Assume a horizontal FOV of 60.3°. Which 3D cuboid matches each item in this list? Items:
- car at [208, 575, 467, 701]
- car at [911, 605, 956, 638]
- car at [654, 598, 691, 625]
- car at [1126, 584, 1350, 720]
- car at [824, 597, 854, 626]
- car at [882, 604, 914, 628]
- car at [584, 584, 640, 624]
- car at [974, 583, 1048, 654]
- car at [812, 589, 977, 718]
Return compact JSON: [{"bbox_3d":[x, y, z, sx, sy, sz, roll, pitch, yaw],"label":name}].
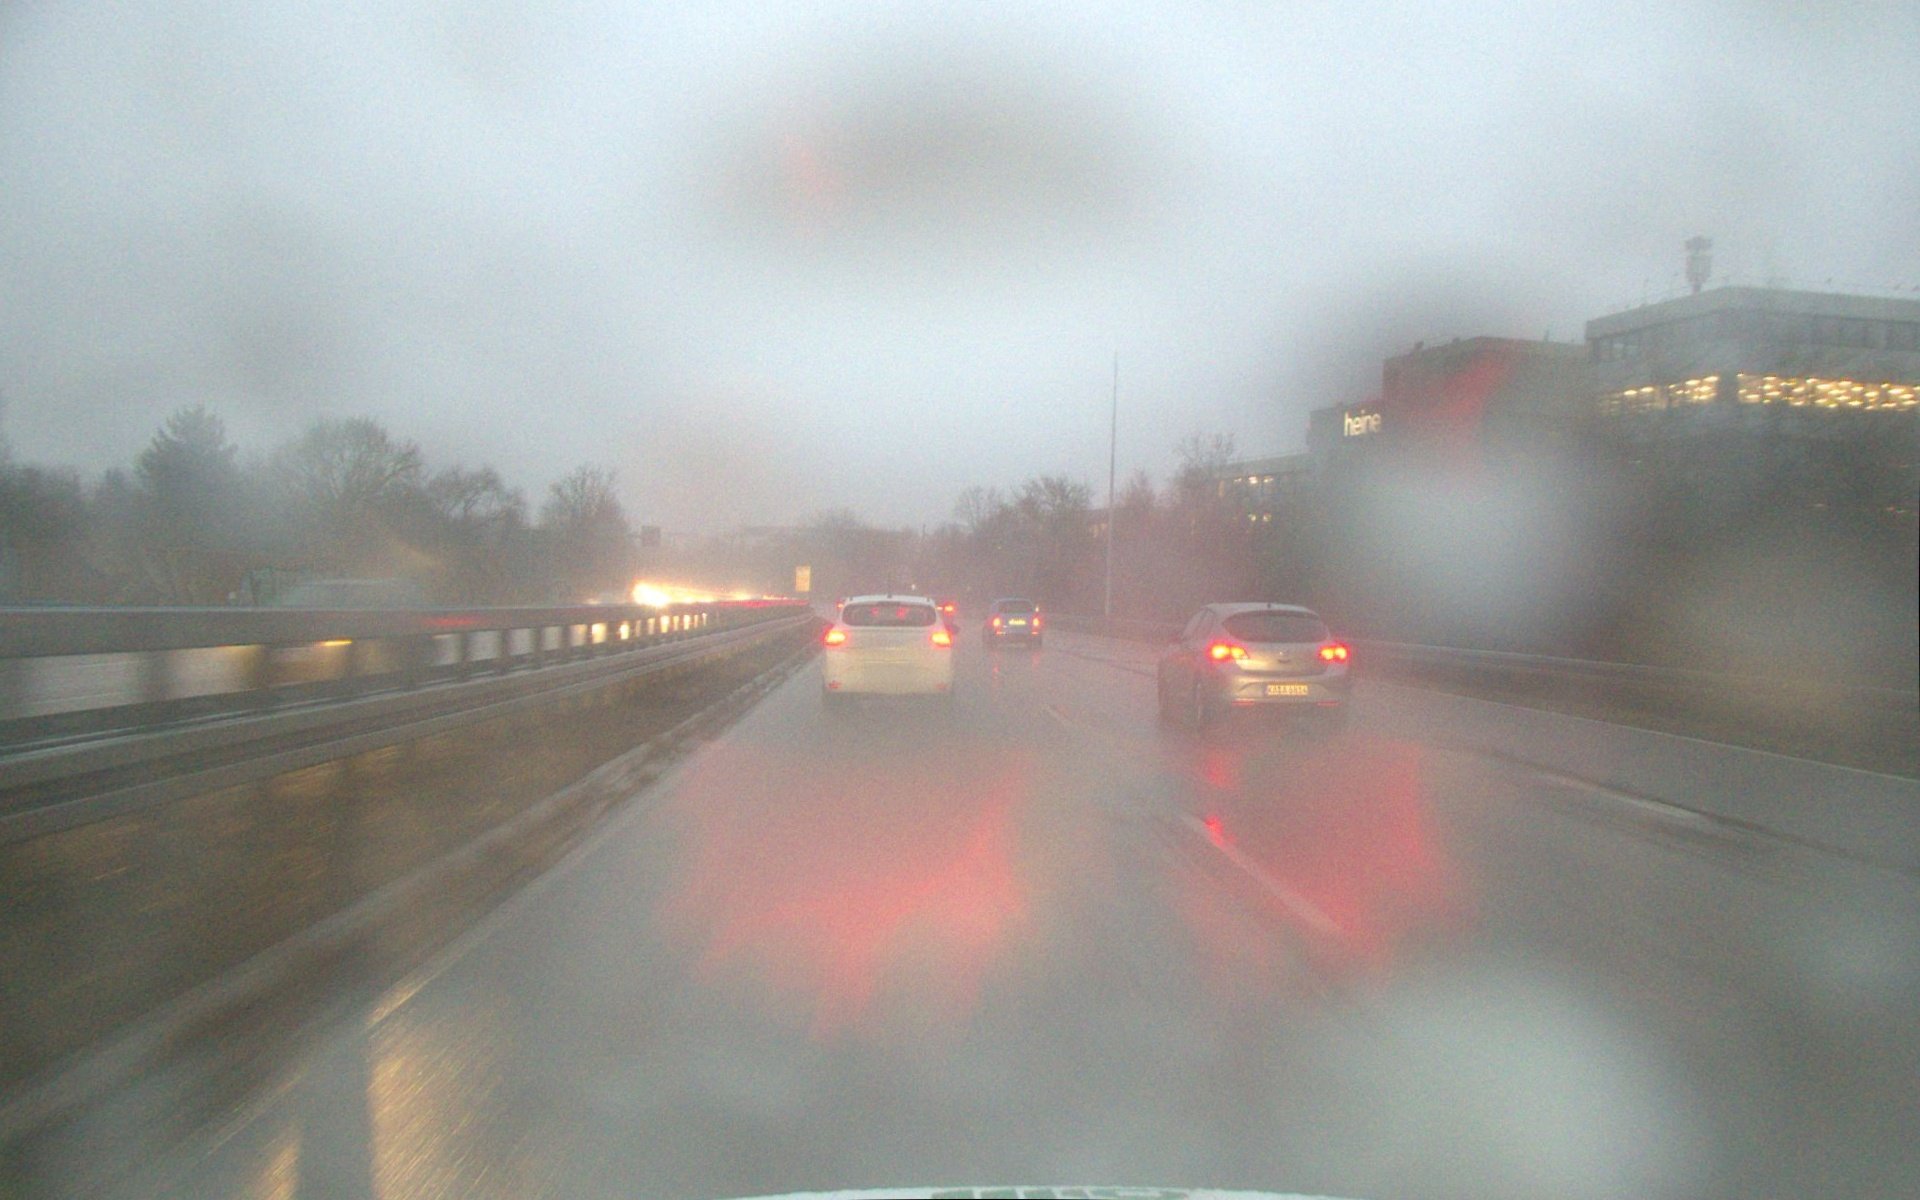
[{"bbox_3d":[-8.275,0.477,22.480,1.827,1.508,4.670,1,0,-2],"label":"car"},{"bbox_3d":[-1.429,1.122,87.916,1.896,1.573,3.768,-5,0,-6],"label":"car"},{"bbox_3d":[-18.410,0.747,106.192,1.829,1.656,4.775,1,0,-4],"label":"car"},{"bbox_3d":[3.407,0.602,21.074,1.813,1.528,4.258,1,0,-5],"label":"car"},{"bbox_3d":[-8.637,0.804,118.055,1.954,2.049,3.998,1,0,-3],"label":"car"},{"bbox_3d":[-4.207,1.078,111.652,1.895,1.573,3.769,1,0,-5],"label":"car"},{"bbox_3d":[-14.951,0.177,71.164,1.692,1.635,4.176,1,0,-3],"label":"car"},{"bbox_3d":[1.526,0.560,50.554,1.894,2.055,3.771,1,0,-3],"label":"car"},{"bbox_3d":[-0.997,0.689,22.936,1.986,1.602,3.994,1,0,-6],"label":"car"}]
